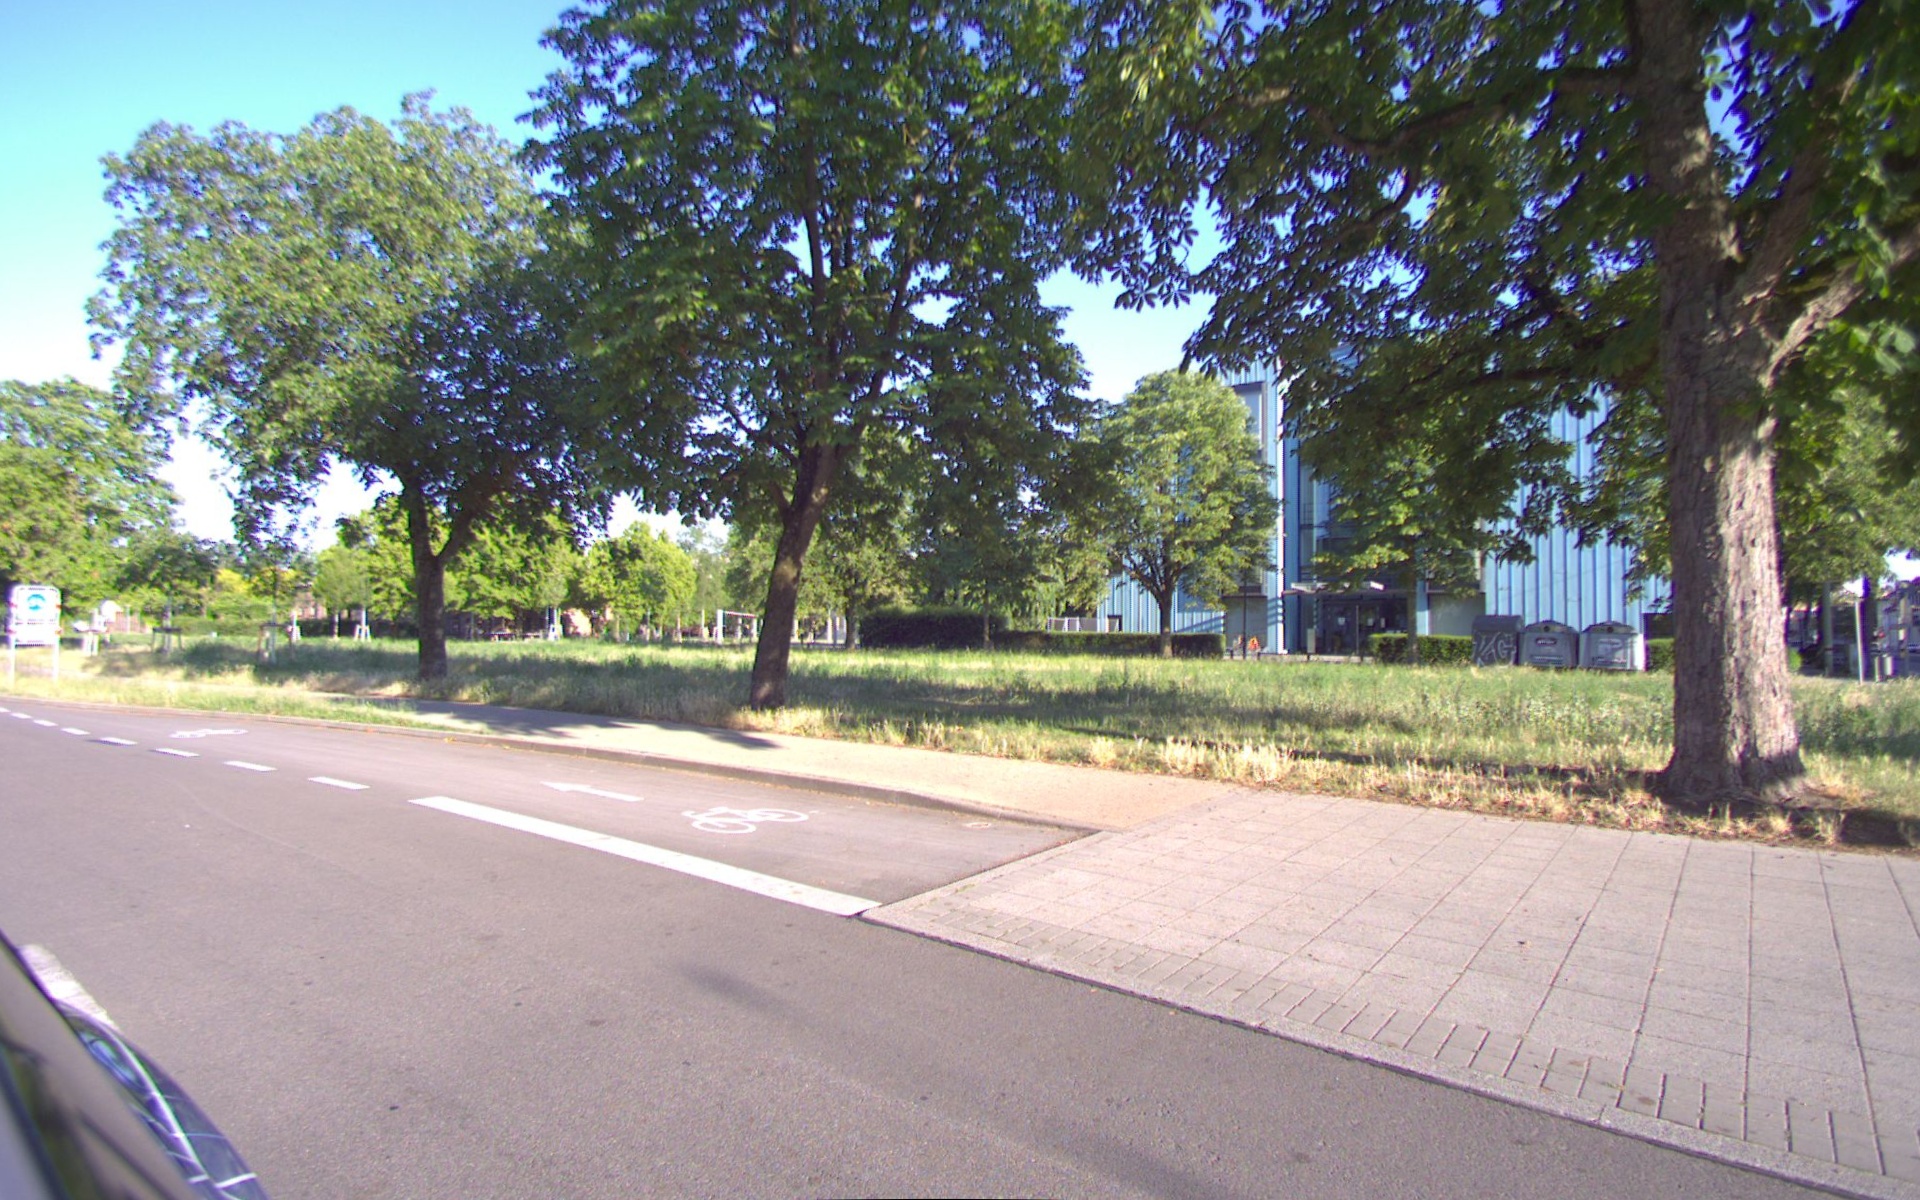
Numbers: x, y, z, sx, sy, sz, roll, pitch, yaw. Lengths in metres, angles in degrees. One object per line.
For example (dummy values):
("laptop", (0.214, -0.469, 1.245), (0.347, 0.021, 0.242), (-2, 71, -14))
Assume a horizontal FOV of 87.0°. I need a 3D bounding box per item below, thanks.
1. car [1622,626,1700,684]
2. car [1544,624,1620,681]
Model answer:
("car", (23.576, 1.770, 33.951), (1.997, 1.684, 5.159), (0, 0, 37))
("car", (21.844, 1.767, 35.444), (1.963, 1.684, 5.162), (0, 0, 35))
